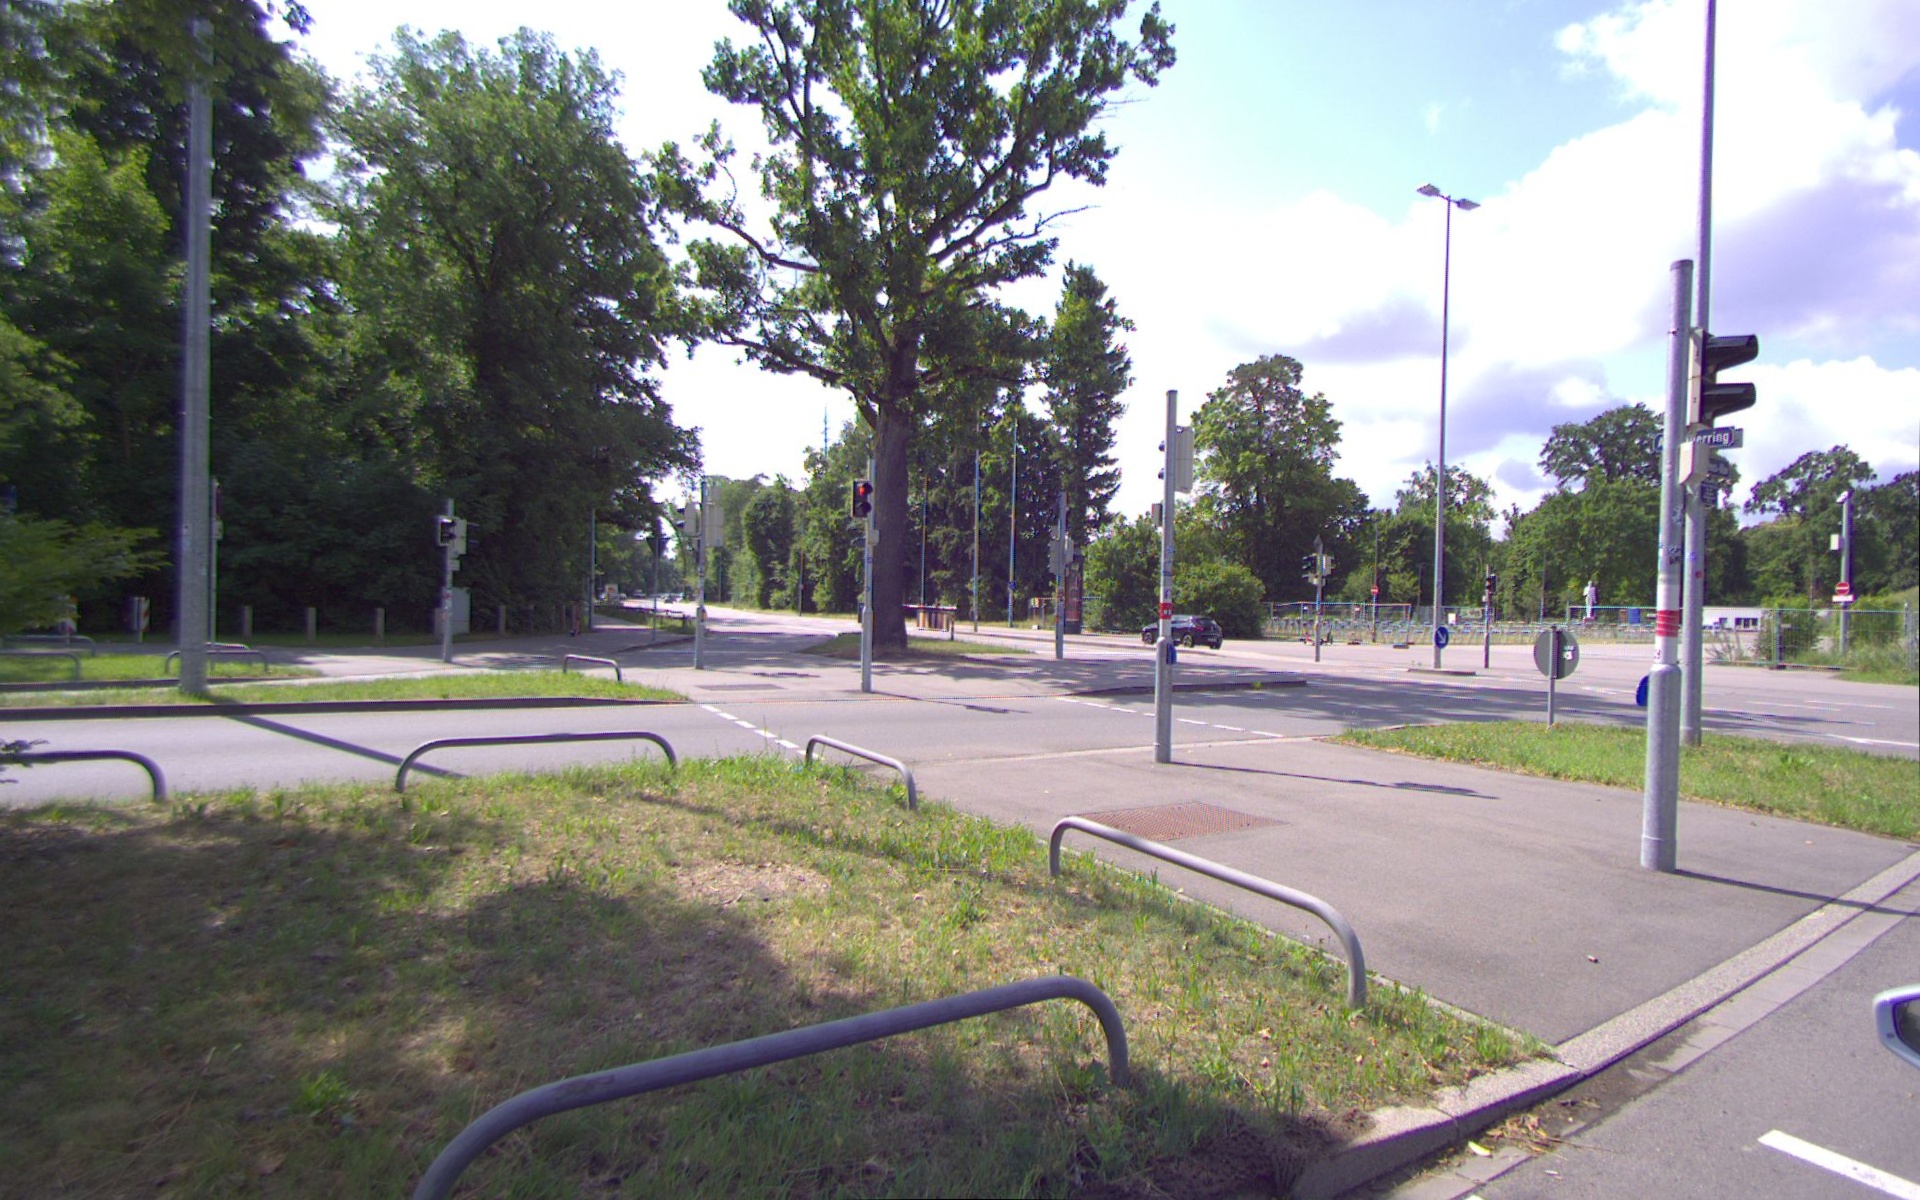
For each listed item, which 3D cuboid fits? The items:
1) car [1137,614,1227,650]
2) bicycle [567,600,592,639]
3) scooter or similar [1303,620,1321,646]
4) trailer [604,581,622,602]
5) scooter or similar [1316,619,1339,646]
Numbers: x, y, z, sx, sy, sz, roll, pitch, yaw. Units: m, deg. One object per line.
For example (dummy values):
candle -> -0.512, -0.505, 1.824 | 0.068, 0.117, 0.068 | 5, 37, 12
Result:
car -> 9.600, 1.380, 43.708 | 1.583, 1.396, 3.945 | 3, -1, -29
bicycle -> -12.008, 0.604, 31.748 | 0.413, 1.188, 1.228 | 2, -1, -7
scooter or similar -> 16.688, 1.566, 47.687 | 0.399, 1.216, 1.312 | 1, 0, 1
trailer -> -43.238, -1.010, 125.133 | 1.971, 2.420, 3.980 | 3, -1, -22
scooter or similar -> 17.740, 1.554, 48.489 | 1.299, 1.269, 0.403 | 1, 0, -36
